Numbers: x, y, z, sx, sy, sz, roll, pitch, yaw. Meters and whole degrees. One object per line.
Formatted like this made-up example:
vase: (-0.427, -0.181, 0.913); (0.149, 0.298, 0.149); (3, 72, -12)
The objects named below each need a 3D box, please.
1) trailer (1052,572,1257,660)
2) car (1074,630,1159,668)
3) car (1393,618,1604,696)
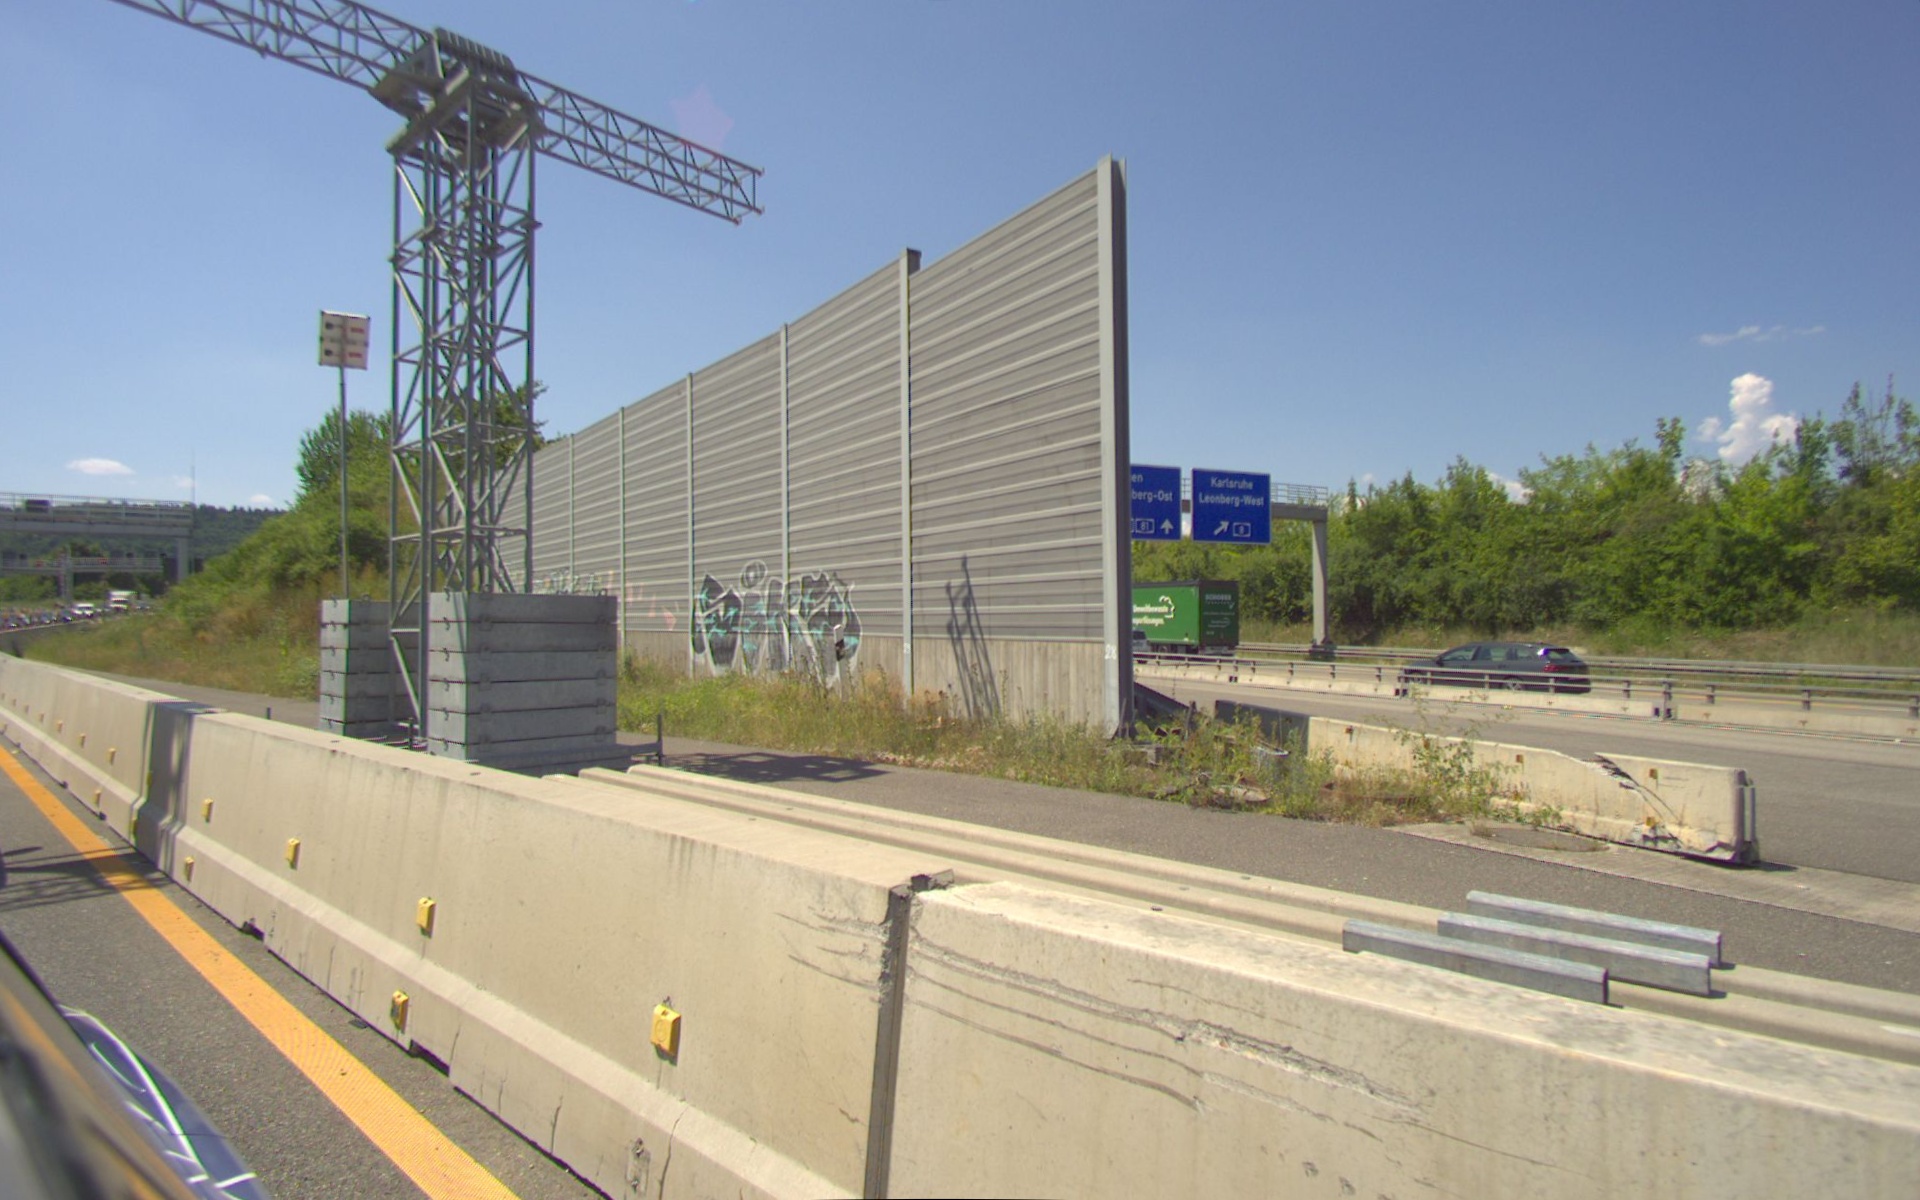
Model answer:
trailer: (10.290, 0.812, 56.446); (3.496, 4.302, 13.954); (-1, 0, -26)
car: (7.228, 2.244, 47.086); (1.692, 1.636, 4.183); (0, -1, -29)
car: (13.335, 1.339, 25.370); (1.674, 1.743, 4.465); (0, -1, -29)
